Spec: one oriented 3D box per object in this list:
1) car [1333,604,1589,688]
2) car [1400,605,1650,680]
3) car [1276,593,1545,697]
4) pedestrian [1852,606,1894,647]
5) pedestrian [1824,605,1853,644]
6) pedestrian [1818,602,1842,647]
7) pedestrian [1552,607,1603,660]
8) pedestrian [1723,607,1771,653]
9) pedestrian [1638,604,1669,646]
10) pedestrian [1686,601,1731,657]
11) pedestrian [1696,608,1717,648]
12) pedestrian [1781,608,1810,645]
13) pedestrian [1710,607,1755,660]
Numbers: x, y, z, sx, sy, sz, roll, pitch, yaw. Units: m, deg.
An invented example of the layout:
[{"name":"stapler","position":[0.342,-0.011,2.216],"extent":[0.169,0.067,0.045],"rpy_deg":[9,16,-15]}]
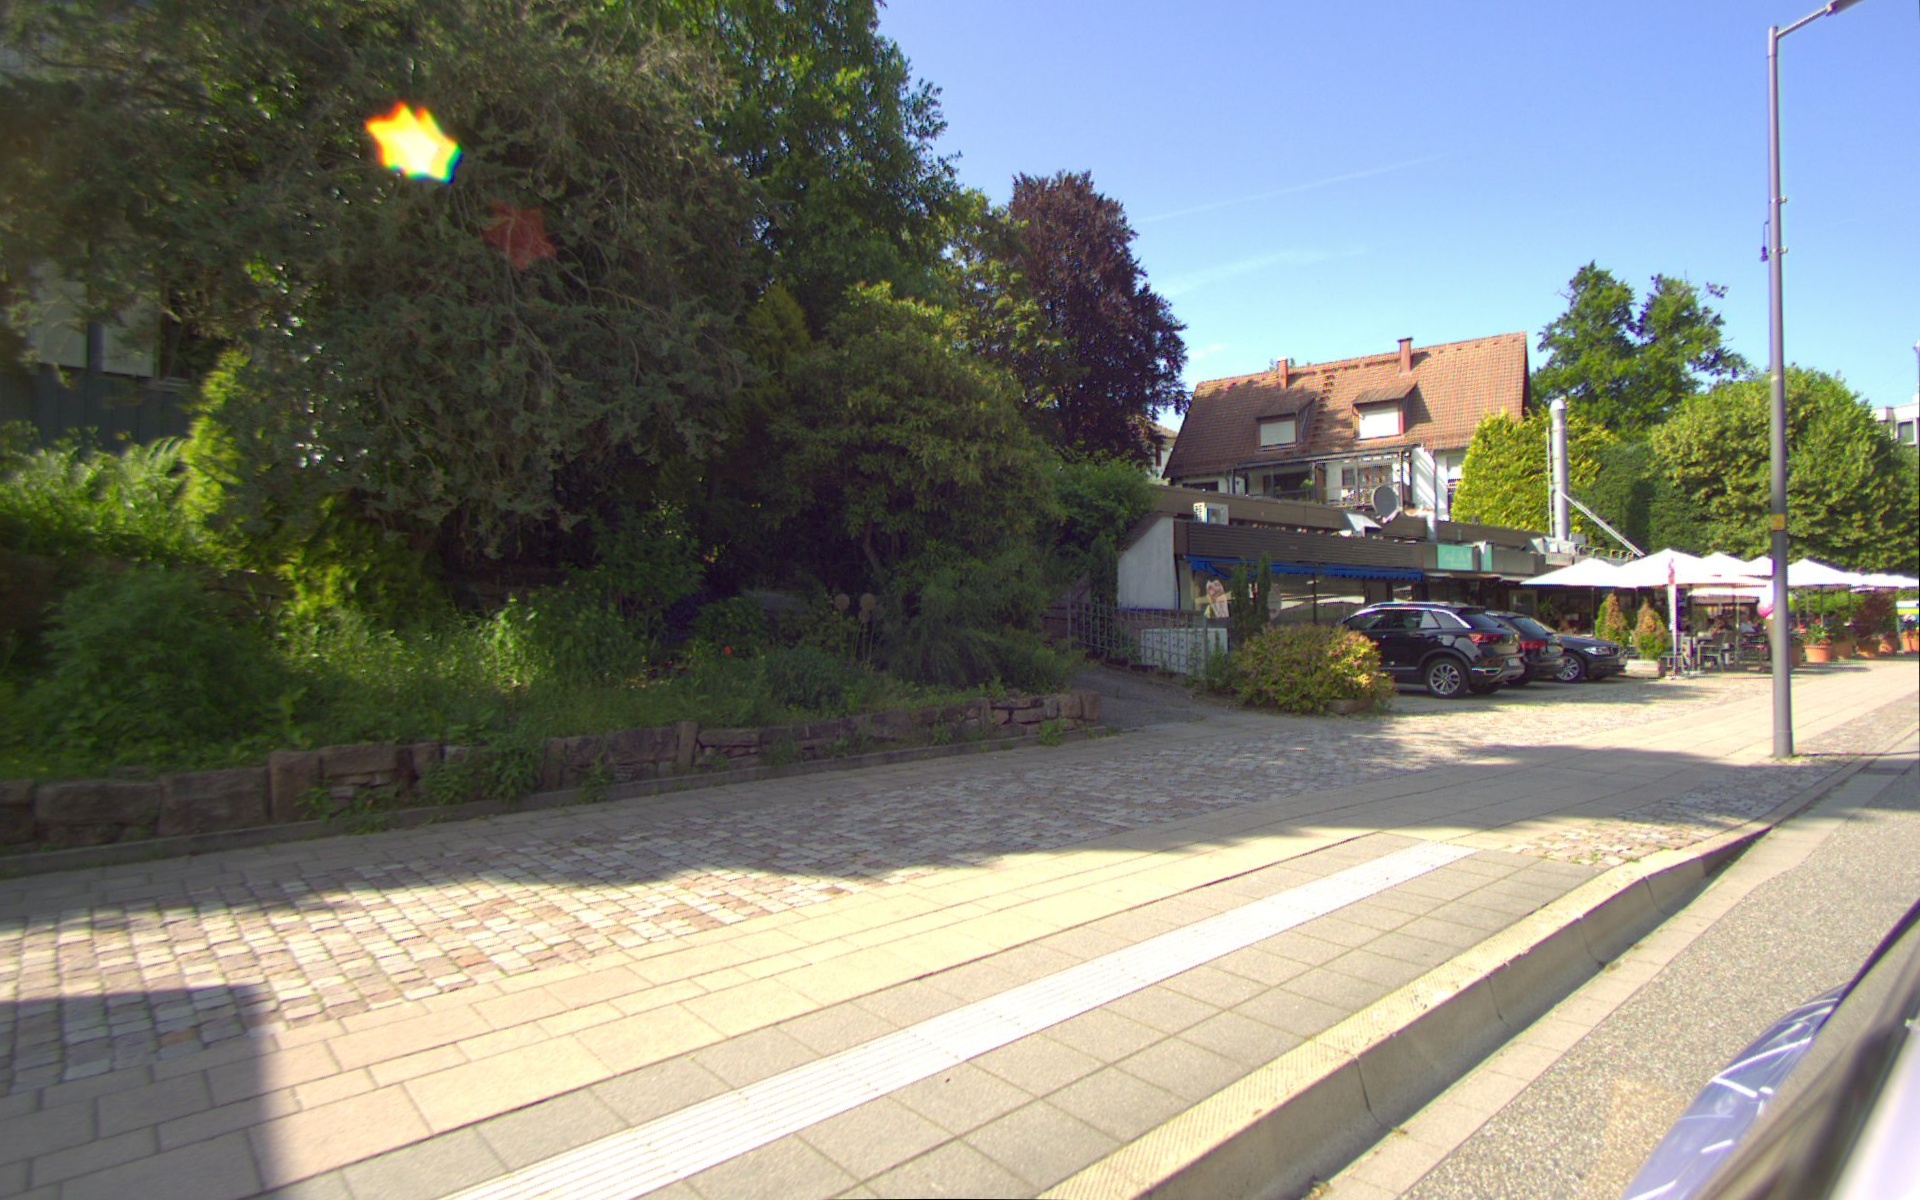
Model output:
[{"name":"car","position":[9.622,0.830,19.712],"extent":[1.717,1.433,4.118],"rpy_deg":[0,-1,-38]},{"name":"car","position":[11.734,0.838,21.267],"extent":[1.678,1.396,4.271],"rpy_deg":[0,-1,-38]},{"name":"car","position":[7.681,0.724,17.507],"extent":[1.719,1.600,3.878],"rpy_deg":[0,-1,-43]},{"name":"pedestrian","position":[29.765,0.842,33.008],"extent":[0.634,1.300,0.949],"rpy_deg":[1,-1,-41]},{"name":"pedestrian","position":[29.416,0.813,33.900],"extent":[0.634,1.300,0.648],"rpy_deg":[1,-1,-41]},{"name":"pedestrian","position":[25.176,0.699,29.291],"extent":[0.470,1.261,0.586],"rpy_deg":[0,0,34]},{"name":"pedestrian","position":[15.165,0.803,24.868],"extent":[0.795,1.277,0.702],"rpy_deg":[0,-1,-13]},{"name":"pedestrian","position":[22.133,0.835,28.474],"extent":[0.686,1.277,0.814],"rpy_deg":[0,-1,-21]},{"name":"pedestrian","position":[21.952,0.783,32.051],"extent":[0.629,1.321,0.578],"rpy_deg":[0,-1,14]},{"name":"pedestrian","position":[19.338,0.741,26.154],"extent":[0.692,1.399,0.807],"rpy_deg":[-1,-1,20]},{"name":"pedestrian","position":[24.159,0.902,32.738],"extent":[0.433,1.281,0.469],"rpy_deg":[1,-1,-43]},{"name":"pedestrian","position":[28.488,0.898,34.519],"extent":[0.585,1.253,0.507],"rpy_deg":[0,-1,10]},{"name":"pedestrian","position":[18.845,0.802,24.686],"extent":[0.809,1.277,0.690],"rpy_deg":[-1,-1,42]}]
